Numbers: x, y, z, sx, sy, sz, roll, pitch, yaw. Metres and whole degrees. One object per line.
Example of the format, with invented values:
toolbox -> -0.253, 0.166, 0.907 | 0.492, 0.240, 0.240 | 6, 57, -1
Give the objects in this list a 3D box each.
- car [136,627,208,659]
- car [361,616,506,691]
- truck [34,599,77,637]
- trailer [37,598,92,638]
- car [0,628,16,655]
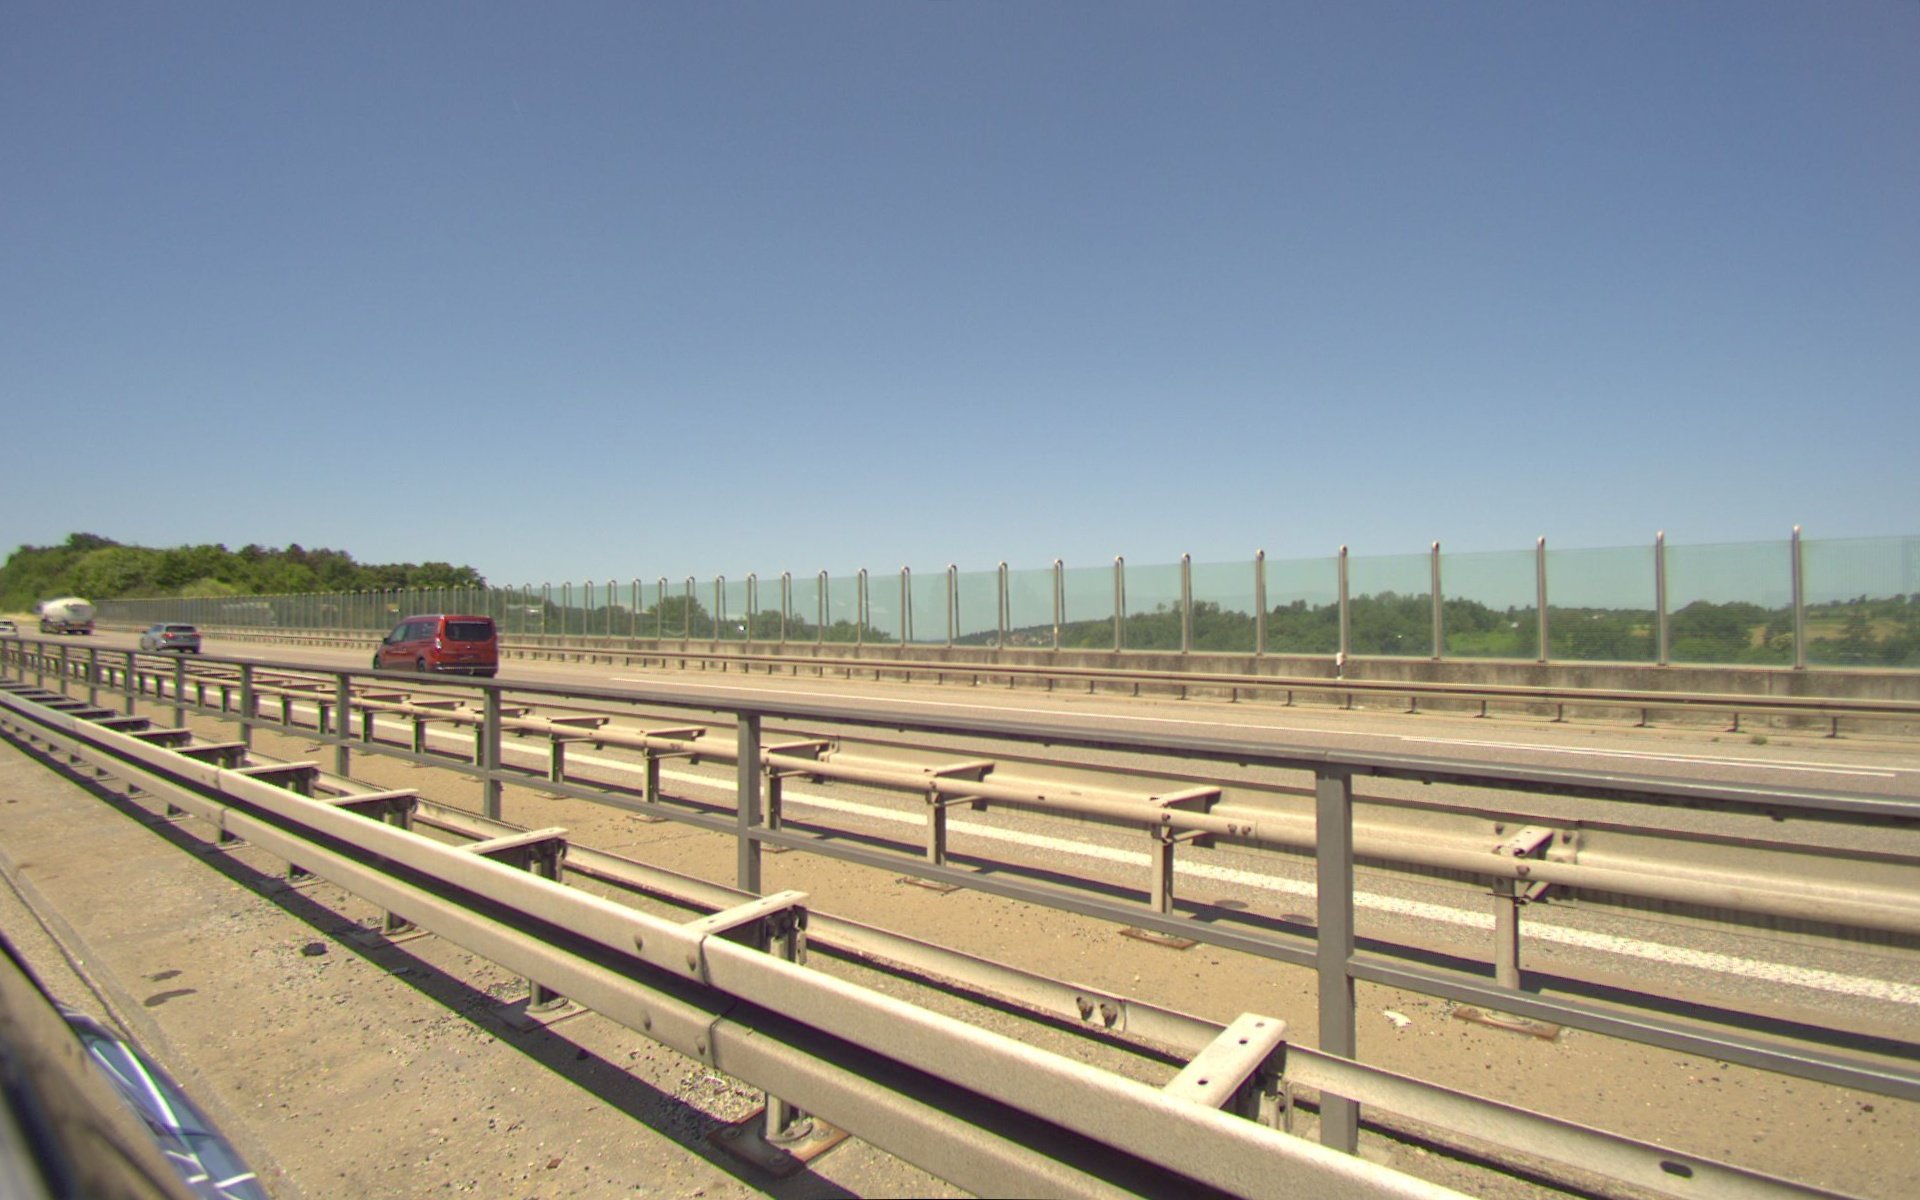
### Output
car -> -37.937, 2.039, 48.715 | 4.382, 1.453, 1.852 | -1, -3, 40
car -> -14.351, 1.384, 27.461 | 4.744, 1.836, 1.821 | 0, -2, 40
truck -> -88.496, 1.735, 98.995 | 5.328, 3.562, 2.494 | -1, -2, 42
trailer -> -84.356, 1.701, 95.275 | 10.899, 3.567, 2.472 | -1, -2, 41
car -> -59.508, 2.479, 62.063 | 3.606, 1.541, 1.852 | -1, -7, 40
